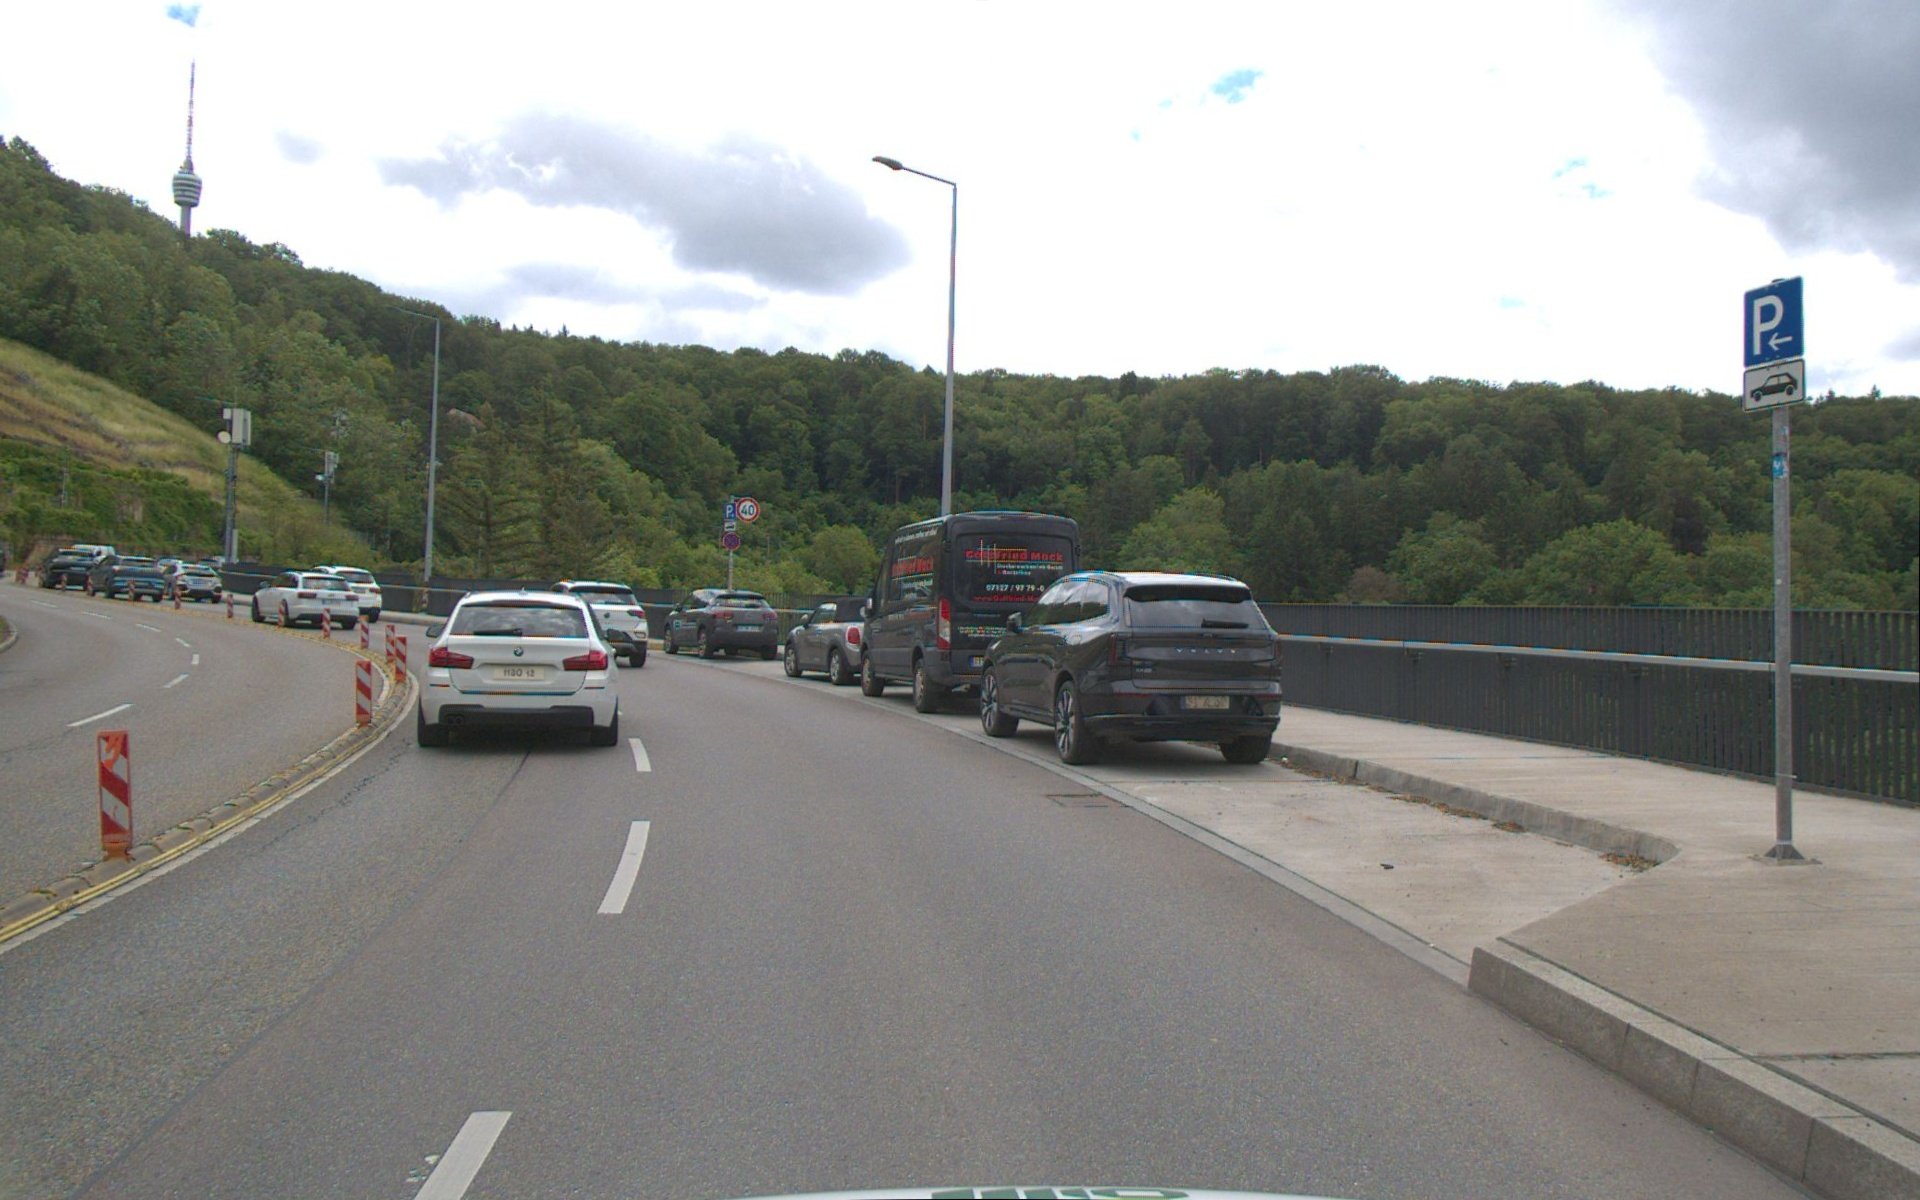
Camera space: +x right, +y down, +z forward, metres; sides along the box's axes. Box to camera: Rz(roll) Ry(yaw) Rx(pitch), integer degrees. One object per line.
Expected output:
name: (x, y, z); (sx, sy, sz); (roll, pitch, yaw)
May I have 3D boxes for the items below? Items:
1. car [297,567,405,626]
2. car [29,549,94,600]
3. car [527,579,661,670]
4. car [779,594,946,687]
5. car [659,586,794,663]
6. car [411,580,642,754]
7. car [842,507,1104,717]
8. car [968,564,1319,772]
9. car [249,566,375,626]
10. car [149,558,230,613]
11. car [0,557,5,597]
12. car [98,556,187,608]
car: (-19.073, -0.094, 51.740); (1.980, 1.748, 4.056); (-1, -1, -39)
car: (-36.862, -1.002, 67.796); (1.854, 1.793, 3.950); (3, -4, -35)
car: (-7.151, 0.472, 32.041); (1.804, 1.634, 3.970); (-1, -1, -24)
car: (-1.760, 0.664, 28.628); (1.691, 1.456, 3.822); (1, 0, -23)
car: (-5.324, 0.524, 37.334); (1.851, 1.570, 4.056); (3, 0, -26)
car: (-4.280, 0.582, 16.953); (1.794, 1.485, 4.477); (1, 1, -9)
car: (-0.010, 0.101, 23.264); (2.131, 2.565, 5.746); (-1, 1, -16)
car: (1.611, 0.590, 16.649); (1.959, 1.748, 5.032); (0, 0, -13)
car: (-17.768, -0.087, 45.241); (1.980, 1.529, 4.603); (-1, -1, -38)
car: (-29.691, -0.525, 63.678); (1.980, 2.049, 3.945); (1, -1, -38)
car: (-40.990, -1.045, 68.885); (1.688, 1.575, 3.951); (2, 3, -36)
car: (-28.860, -0.625, 58.315); (1.981, 1.677, 3.943); (-1, -1, -39)
